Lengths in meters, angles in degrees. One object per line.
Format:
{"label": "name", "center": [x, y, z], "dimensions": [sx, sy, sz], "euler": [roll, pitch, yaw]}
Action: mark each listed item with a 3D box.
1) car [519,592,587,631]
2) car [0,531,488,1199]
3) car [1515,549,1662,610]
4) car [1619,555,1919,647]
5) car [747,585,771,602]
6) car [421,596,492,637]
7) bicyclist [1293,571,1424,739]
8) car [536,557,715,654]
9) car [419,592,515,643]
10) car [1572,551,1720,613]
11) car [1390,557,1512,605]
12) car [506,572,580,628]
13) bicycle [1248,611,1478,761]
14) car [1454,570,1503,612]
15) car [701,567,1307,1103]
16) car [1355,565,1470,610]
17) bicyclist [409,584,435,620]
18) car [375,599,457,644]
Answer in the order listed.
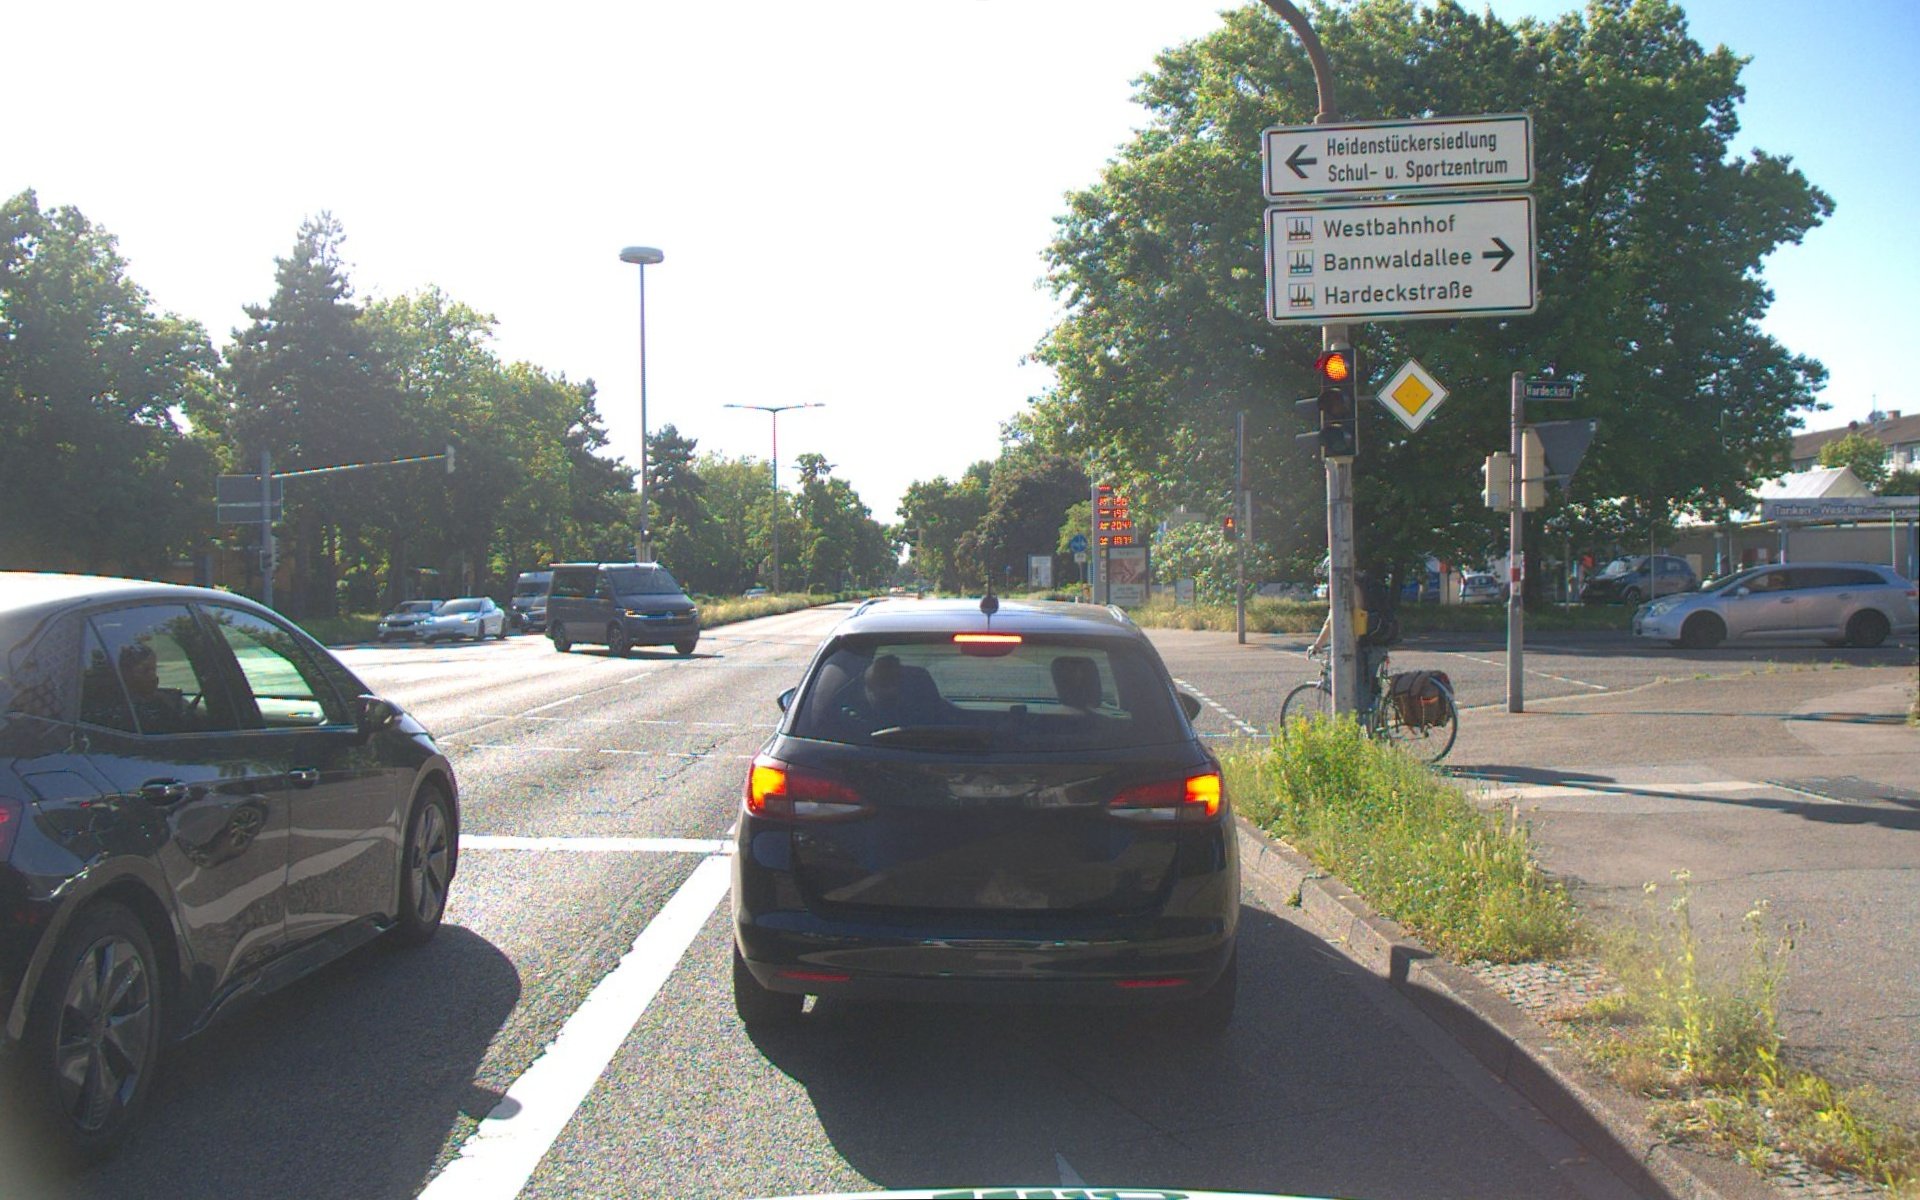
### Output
{"label": "car", "center": [-16.418, 0.441, 66.891], "dimensions": [1.652, 1.458, 4.614], "euler": [-1, 0, -1]}
{"label": "car", "center": [-3.001, 0.650, 5.597], "dimensions": [1.650, 1.608, 4.206], "euler": [0, 0, -1]}
{"label": "car", "center": [19.007, -0.615, 50.026], "dimensions": [3.935, 1.780, 1.985], "euler": [-1, 0, -24]}
{"label": "car", "center": [14.553, 0.011, 29.502], "dimensions": [4.897, 1.512, 2.002], "euler": [-1, 0, 11]}
{"label": "car", "center": [-18.169, -0.608, 149.596], "dimensions": [1.740, 1.488, 4.164], "euler": [-1, 0, -1]}
{"label": "car", "center": [-20.192, 0.626, 66.536], "dimensions": [1.652, 1.535, 4.003], "euler": [-1, 0, -1]}
{"label": "bicyclist", "center": [3.216, 0.443, 13.364], "dimensions": [0.534, 1.299, 0.816], "euler": [-2, -2, -44]}
{"label": "car", "center": [-7.620, 0.118, 37.301], "dimensions": [1.899, 2.027, 4.945], "euler": [-2, 0, -39]}
{"label": "car", "center": [-16.245, 0.549, 54.708], "dimensions": [1.850, 1.551, 4.503], "euler": [-1, 0, -1]}
{"label": "car", "center": [19.987, -0.531, 48.188], "dimensions": [3.934, 1.709, 1.732], "euler": [-2, 0, -24]}
{"label": "car", "center": [16.907, -0.649, 56.977], "dimensions": [3.837, 1.544, 1.732], "euler": [-2, 0, -24]}
{"label": "car", "center": [-19.960, -0.022, 79.421], "dimensions": [2.057, 2.536, 6.003], "euler": [-1, 0, -1]}
{"label": "bicycle", "center": [3.224, 0.694, 13.363], "dimensions": [0.533, 1.117, 1.748], "euler": [-2, -2, -44]}
{"label": "car", "center": [21.947, -0.401, 70.117], "dimensions": [1.702, 1.709, 4.003], "euler": [-1, 0, 14]}
{"label": "car", "center": [0.100, 0.677, 6.829], "dimensions": [1.721, 1.521, 4.206], "euler": [0, 0, -1]}
{"label": "car", "center": [16.430, -0.461, 60.052], "dimensions": [3.837, 1.544, 1.732], "euler": [-2, 0, -24]}
{"label": "bicyclist", "center": [-25.129, 0.085, 77.272], "dimensions": [0.859, 1.677, 1.198], "euler": [-2, 0, -6]}
{"label": "car", "center": [-19.697, 0.751, 60.049], "dimensions": [1.652, 1.535, 4.003], "euler": [-1, 0, -1]}
